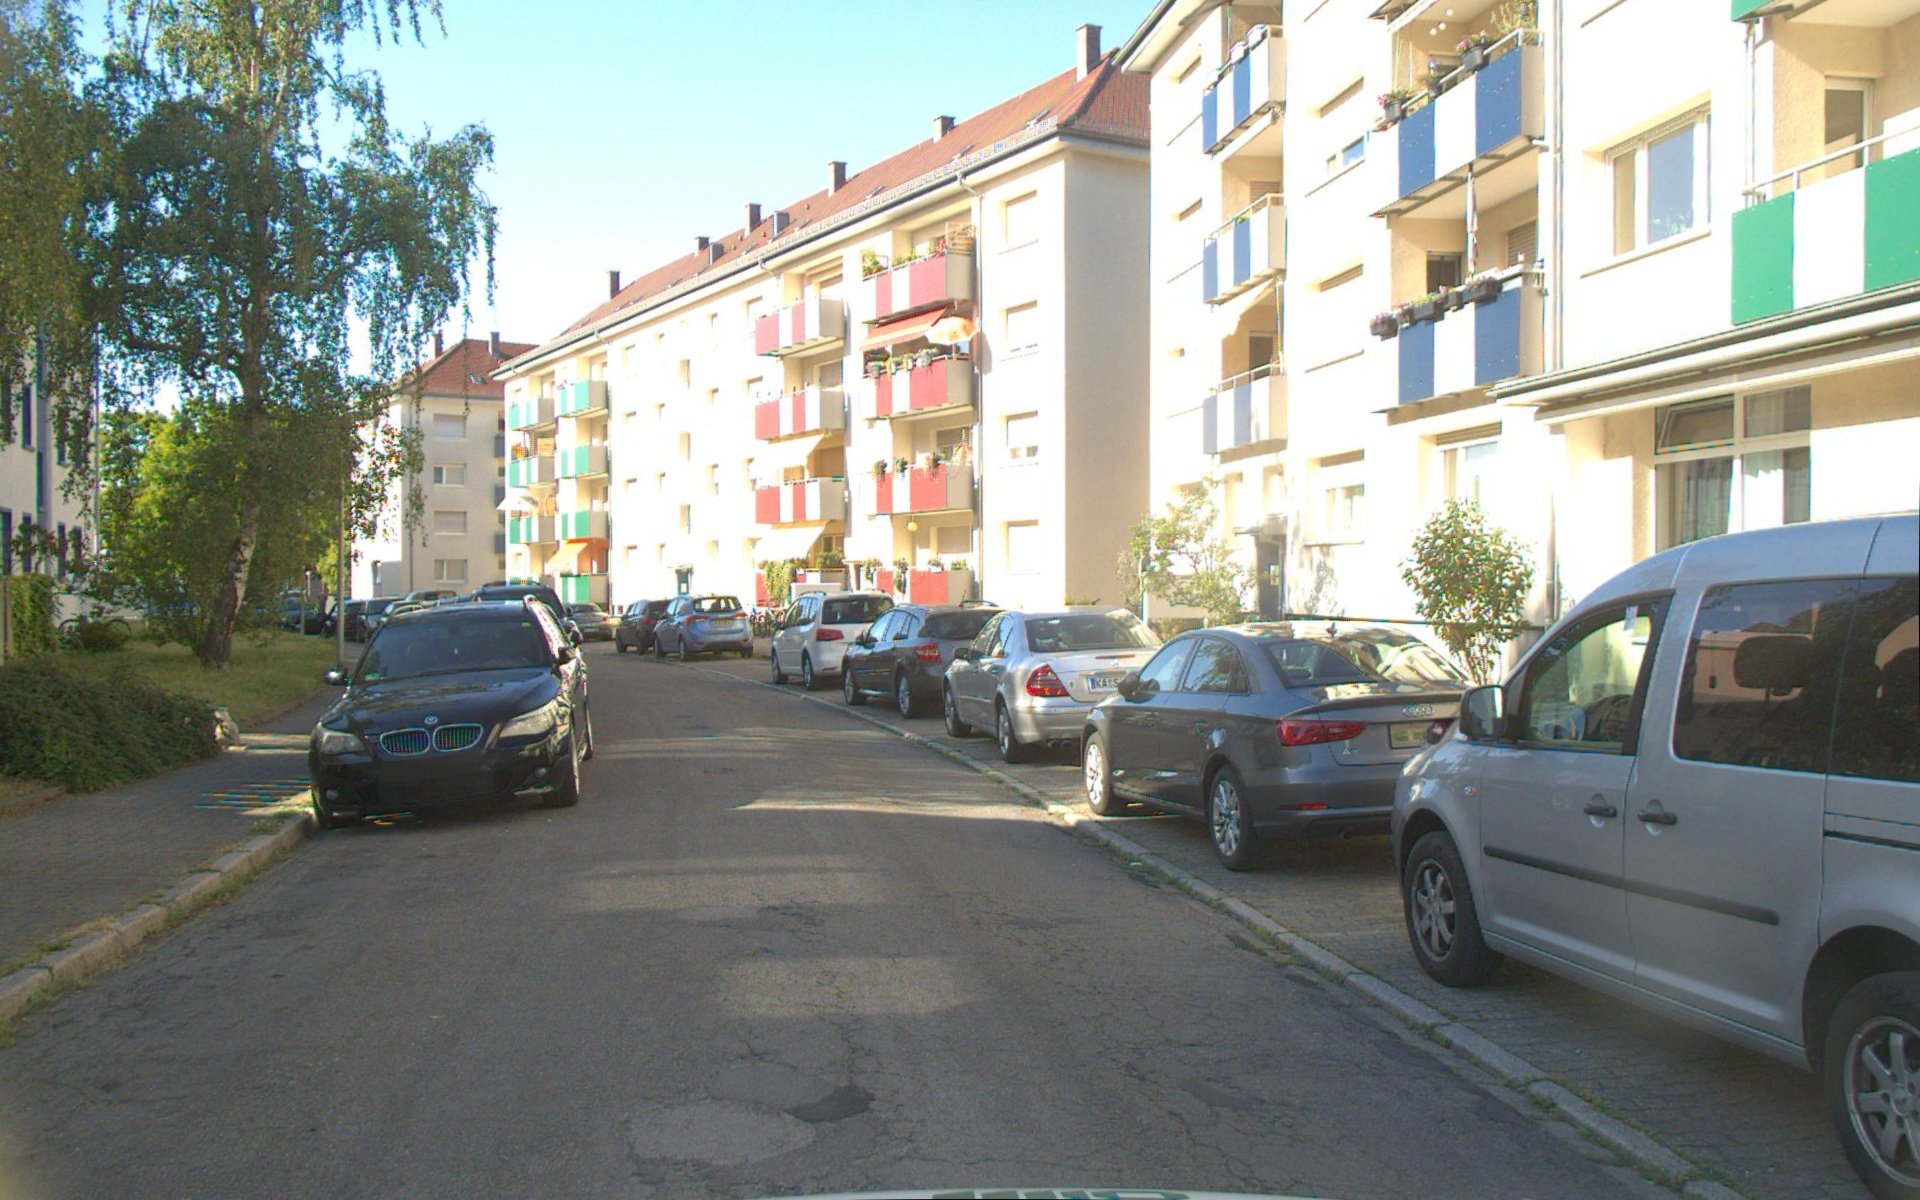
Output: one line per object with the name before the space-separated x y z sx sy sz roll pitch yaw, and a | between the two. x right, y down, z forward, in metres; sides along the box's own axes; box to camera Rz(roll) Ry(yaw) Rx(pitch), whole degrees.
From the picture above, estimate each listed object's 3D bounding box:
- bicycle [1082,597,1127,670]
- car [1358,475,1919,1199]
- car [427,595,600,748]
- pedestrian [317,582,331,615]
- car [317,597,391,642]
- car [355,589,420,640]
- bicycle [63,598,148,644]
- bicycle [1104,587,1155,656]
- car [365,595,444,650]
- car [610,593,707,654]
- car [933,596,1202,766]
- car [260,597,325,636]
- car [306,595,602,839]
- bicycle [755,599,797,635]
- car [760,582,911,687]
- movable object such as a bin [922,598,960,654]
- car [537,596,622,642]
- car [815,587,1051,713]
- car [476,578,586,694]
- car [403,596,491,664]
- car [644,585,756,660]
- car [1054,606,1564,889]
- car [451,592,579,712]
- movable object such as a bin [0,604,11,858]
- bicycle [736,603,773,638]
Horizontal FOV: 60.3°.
bicycle | 2.565 0.580 29.481 0.504 1.223 1.760 -2 1 -4
car | 3.033 0.558 5.609 1.715 1.855 4.122 -3 1 -10
car | -5.130 0.730 19.226 1.650 1.467 4.264 -4 1 -14
pedestrian | -36.436 -0.104 94.824 0.646 1.847 0.609 -2 1 -25
car | -21.733 0.684 59.193 1.725 1.456 4.552 -4 2 -30
car | -18.886 0.468 54.516 1.461 1.502 3.599 -5 2 -27
bicycle | -21.632 0.535 41.881 1.791 1.097 0.566 2 -1 -17
bicycle | 3.166 0.389 30.998 0.505 1.223 1.830 -2 1 -8
car | -16.720 0.643 49.665 1.551 1.490 4.222 -3 2 -28
car | -8.446 0.620 46.087 1.713 1.534 3.855 -4 2 -25
car | 0.951 0.721 17.298 1.648 1.472 4.711 -1 1 -11
car | -27.500 0.669 68.089 1.645 1.468 3.824 -3 1 -35
car | -3.835 0.760 13.245 1.648 1.478 4.609 -4 1 -10
bicycle | -5.669 0.519 50.906 0.610 0.995 1.879 -4 3 -27
car | -2.309 0.590 29.606 1.668 1.684 4.367 -2 0 -18
movable object such as a bin | -0.393 0.529 33.438 0.574 1.074 0.638 -4 -1 -14
car | -12.828 0.608 55.588 1.667 1.387 4.198 -3 2 -29
car | -0.501 0.667 23.046 1.671 1.456 4.656 -4 0 -22
car | -7.456 0.570 28.525 1.531 1.744 4.316 -4 1 -17
car | -13.429 0.737 43.173 1.672 1.413 4.125 -2 4 -25
car | -6.574 0.508 41.459 1.743 1.664 4.010 -3 2 -24
car | 2.054 0.794 11.204 1.649 1.431 4.531 -1 1 -13
car | -6.283 0.668 23.544 1.529 1.467 3.953 -4 1 -14
movable object such as a bin | -5.666 0.743 8.604 0.761 1.417 1.415 -1 0 -8
bicycle | -6.278 0.610 50.572 0.492 1.037 1.825 -2 1 -27
